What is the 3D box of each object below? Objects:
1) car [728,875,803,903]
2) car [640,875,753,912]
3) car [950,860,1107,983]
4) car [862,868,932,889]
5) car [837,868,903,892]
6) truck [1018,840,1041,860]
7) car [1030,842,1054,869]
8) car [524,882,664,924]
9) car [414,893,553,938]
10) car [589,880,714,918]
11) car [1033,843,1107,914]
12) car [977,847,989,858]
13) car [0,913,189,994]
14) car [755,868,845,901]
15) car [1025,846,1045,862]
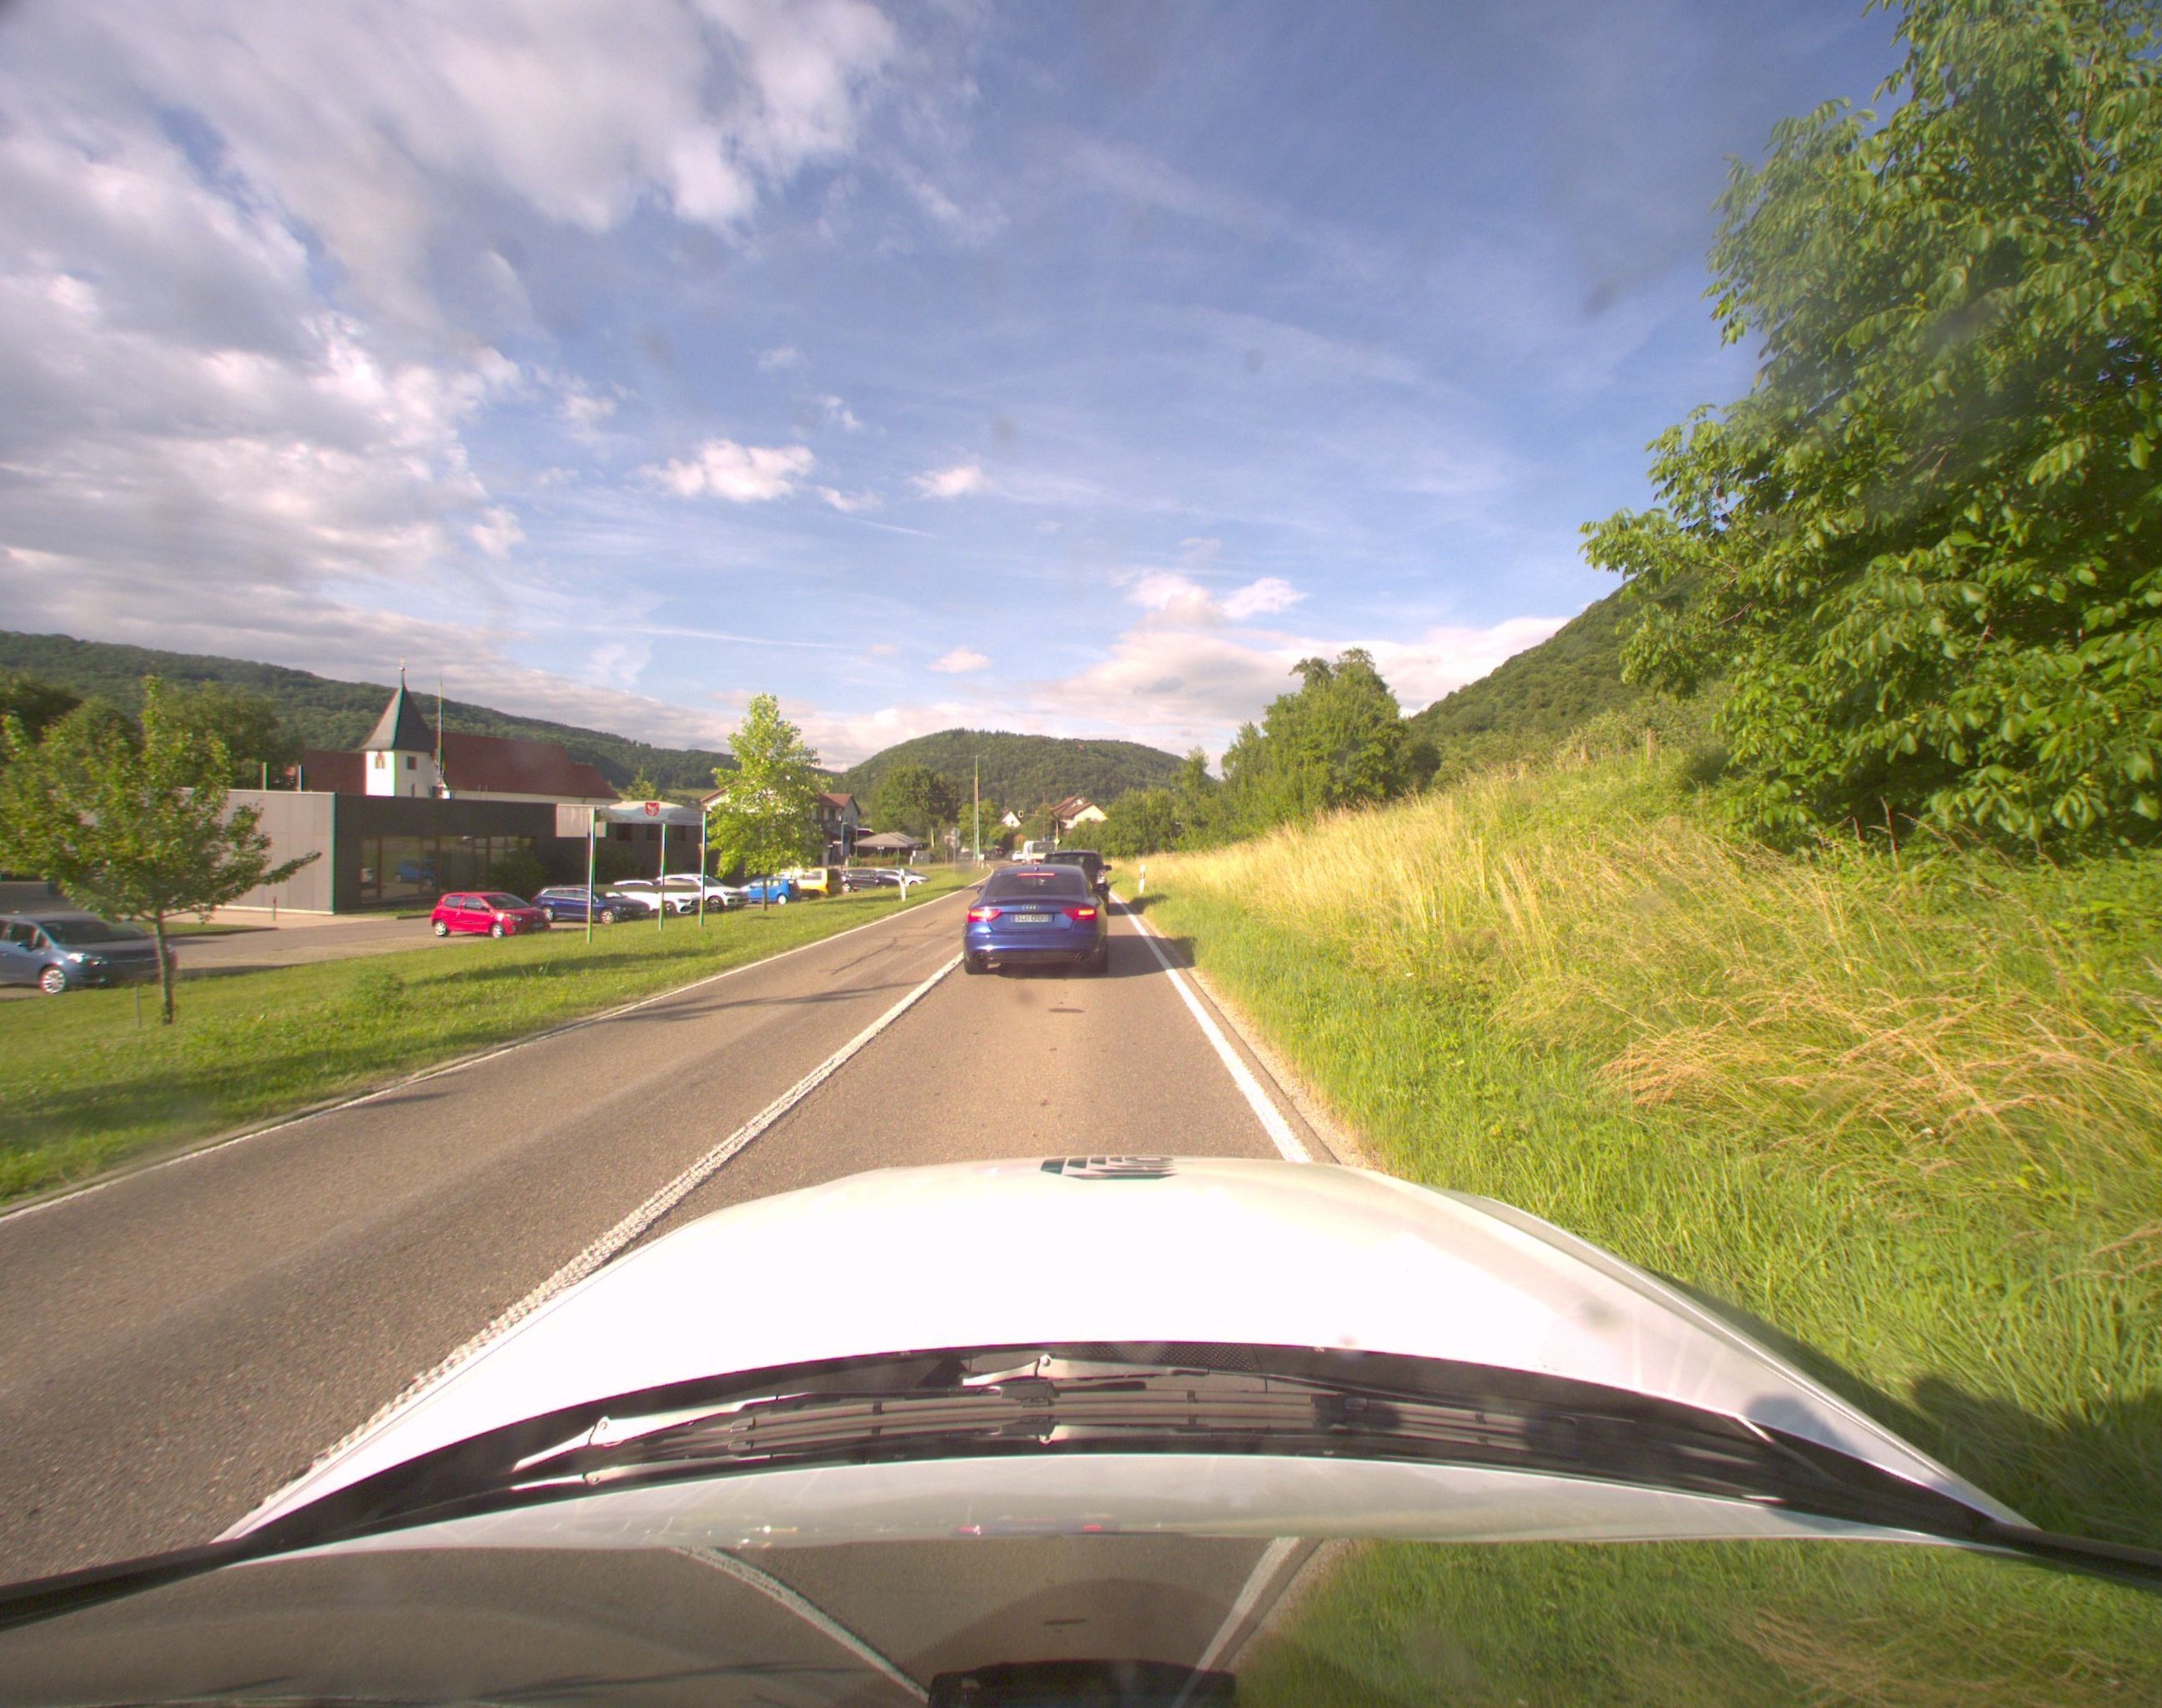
[{"bbox_3d":[-17.321,1.939,44.793,3.475,1.472,1.636,0,-1,7],"label":"car"},{"bbox_3d":[-18.429,1.886,39.095,4.512,1.703,2.005,0,-1,9],"label":"car"},{"bbox_3d":[-0.547,0.795,11.435,1.788,1.388,4.001,-1,-1,2],"label":"car"},{"bbox_3d":[-13.927,1.857,61.853,4.785,1.493,1.886,0,-1,9],"label":"car"},{"bbox_3d":[-14.816,1.838,57.328,4.001,1.637,2.005,0,-1,9],"label":"car"},{"bbox_3d":[-5.541,-0.397,87.067,1.699,1.953,5.898,0,-1,-12],"label":"truck"},{"bbox_3d":[-3.347,0.128,69.409,1.744,2.195,3.990,0,-1,-7],"label":"car"},{"bbox_3d":[-19.384,1.914,32.518,4.512,1.555,2.005,0,-1,9],"label":"car"},{"bbox_3d":[-20.043,2.035,27.387,3.699,1.398,1.620,0,-1,9],"label":"car"},{"bbox_3d":[-18.829,1.936,35.792,4.512,1.555,2.005,0,-1,9],"label":"car"},{"bbox_3d":[-0.193,0.596,21.034,1.739,1.639,4.001,0,-1,2],"label":"car"},{"bbox_3d":[-14.915,-0.186,124.073,1.734,1.662,3.460,0,-1,-9],"label":"car"},{"bbox_3d":[-21.839,2.082,17.391,3.986,1.451,1.688,0,2,7],"label":"car"},{"bbox_3d":[-16.333,1.751,47.386,4.579,1.868,2.007,-1,-1,12],"label":"car"},{"bbox_3d":[-4.619,0.021,81.902,1.744,1.639,3.990,0,-1,-7],"label":"car"}]
